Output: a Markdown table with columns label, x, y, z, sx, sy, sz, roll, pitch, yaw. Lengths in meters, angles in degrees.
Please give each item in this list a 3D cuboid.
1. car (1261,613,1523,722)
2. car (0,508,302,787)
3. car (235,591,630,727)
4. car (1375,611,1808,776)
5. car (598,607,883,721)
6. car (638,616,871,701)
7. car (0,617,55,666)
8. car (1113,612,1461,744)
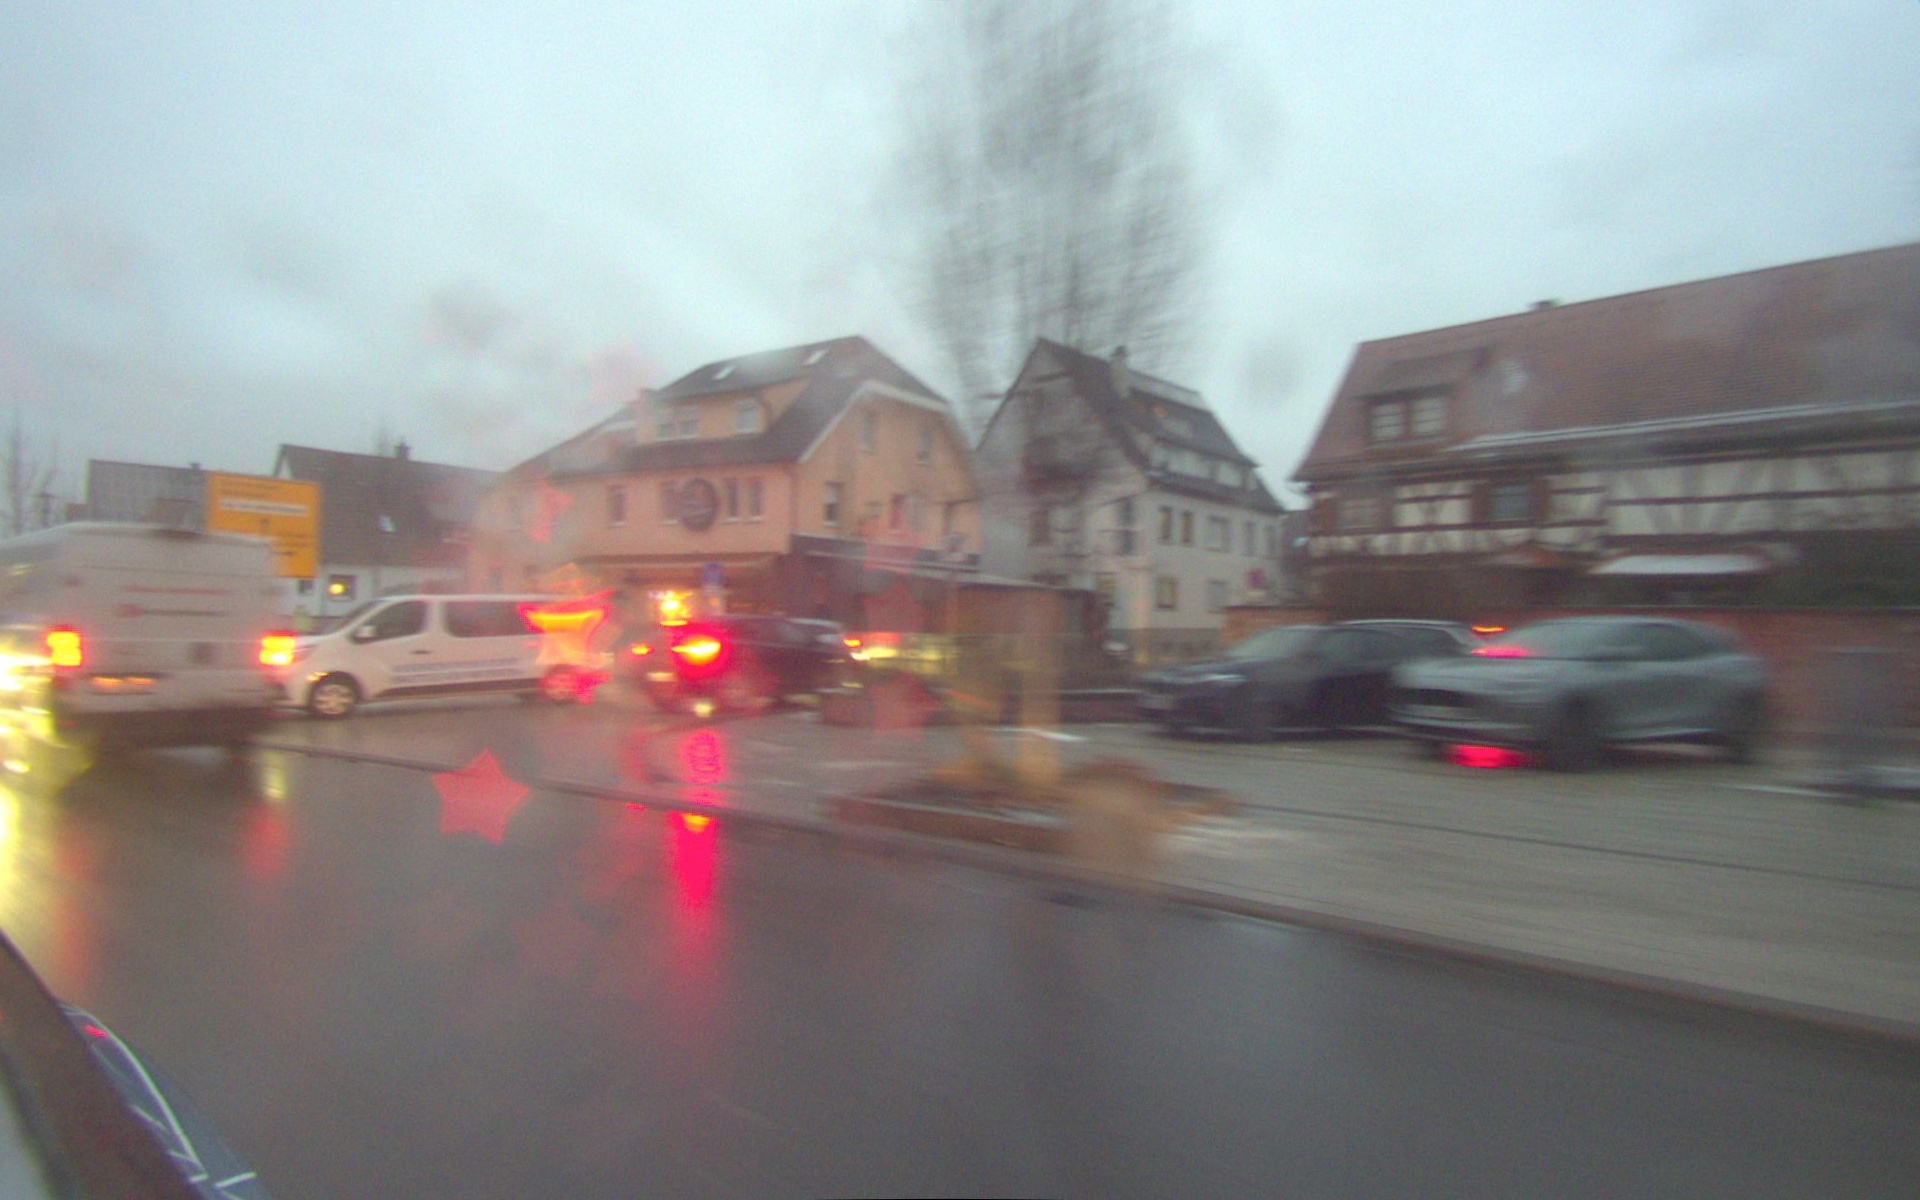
| label | x | y | z | sx | sy | sz | roll | pitch | yaw |
| --- | --- | --- | --- | --- | --- | --- | --- | --- | --- |
| car | 7.666 | 1.112 | 18.211 | 4.002 | 1.741 | 1.696 | -1 | -1 | 45 |
| car | -10.239 | 0.521 | 11.790 | 6.129 | 2.509 | 2.175 | -1 | -3 | 35 |
| car | -8.807 | 0.899 | 17.319 | 5.690 | 1.961 | 1.993 | 0 | -2 | -42 |
| car | 6.566 | 0.890 | 10.564 | 4.003 | 1.470 | 1.763 | 1 | -2 | -21 |
| car | -3.526 | 0.998 | 17.033 | 2.151 | 1.645 | 4.395 | -1 | -2 | 35 |
| car | -4.396 | 1.320 | 22.225 | 2.001 | 1.648 | 4.700 | -3 | -6 | 44 |
| car | -40.271 | 1.715 | 41.943 | 1.745 | 1.966 | 3.763 | -2 | -5 | 34 |
| car | 4.076 | 0.952 | 12.725 | 3.865 | 1.470 | 1.768 | 1 | -3 | -20 |
